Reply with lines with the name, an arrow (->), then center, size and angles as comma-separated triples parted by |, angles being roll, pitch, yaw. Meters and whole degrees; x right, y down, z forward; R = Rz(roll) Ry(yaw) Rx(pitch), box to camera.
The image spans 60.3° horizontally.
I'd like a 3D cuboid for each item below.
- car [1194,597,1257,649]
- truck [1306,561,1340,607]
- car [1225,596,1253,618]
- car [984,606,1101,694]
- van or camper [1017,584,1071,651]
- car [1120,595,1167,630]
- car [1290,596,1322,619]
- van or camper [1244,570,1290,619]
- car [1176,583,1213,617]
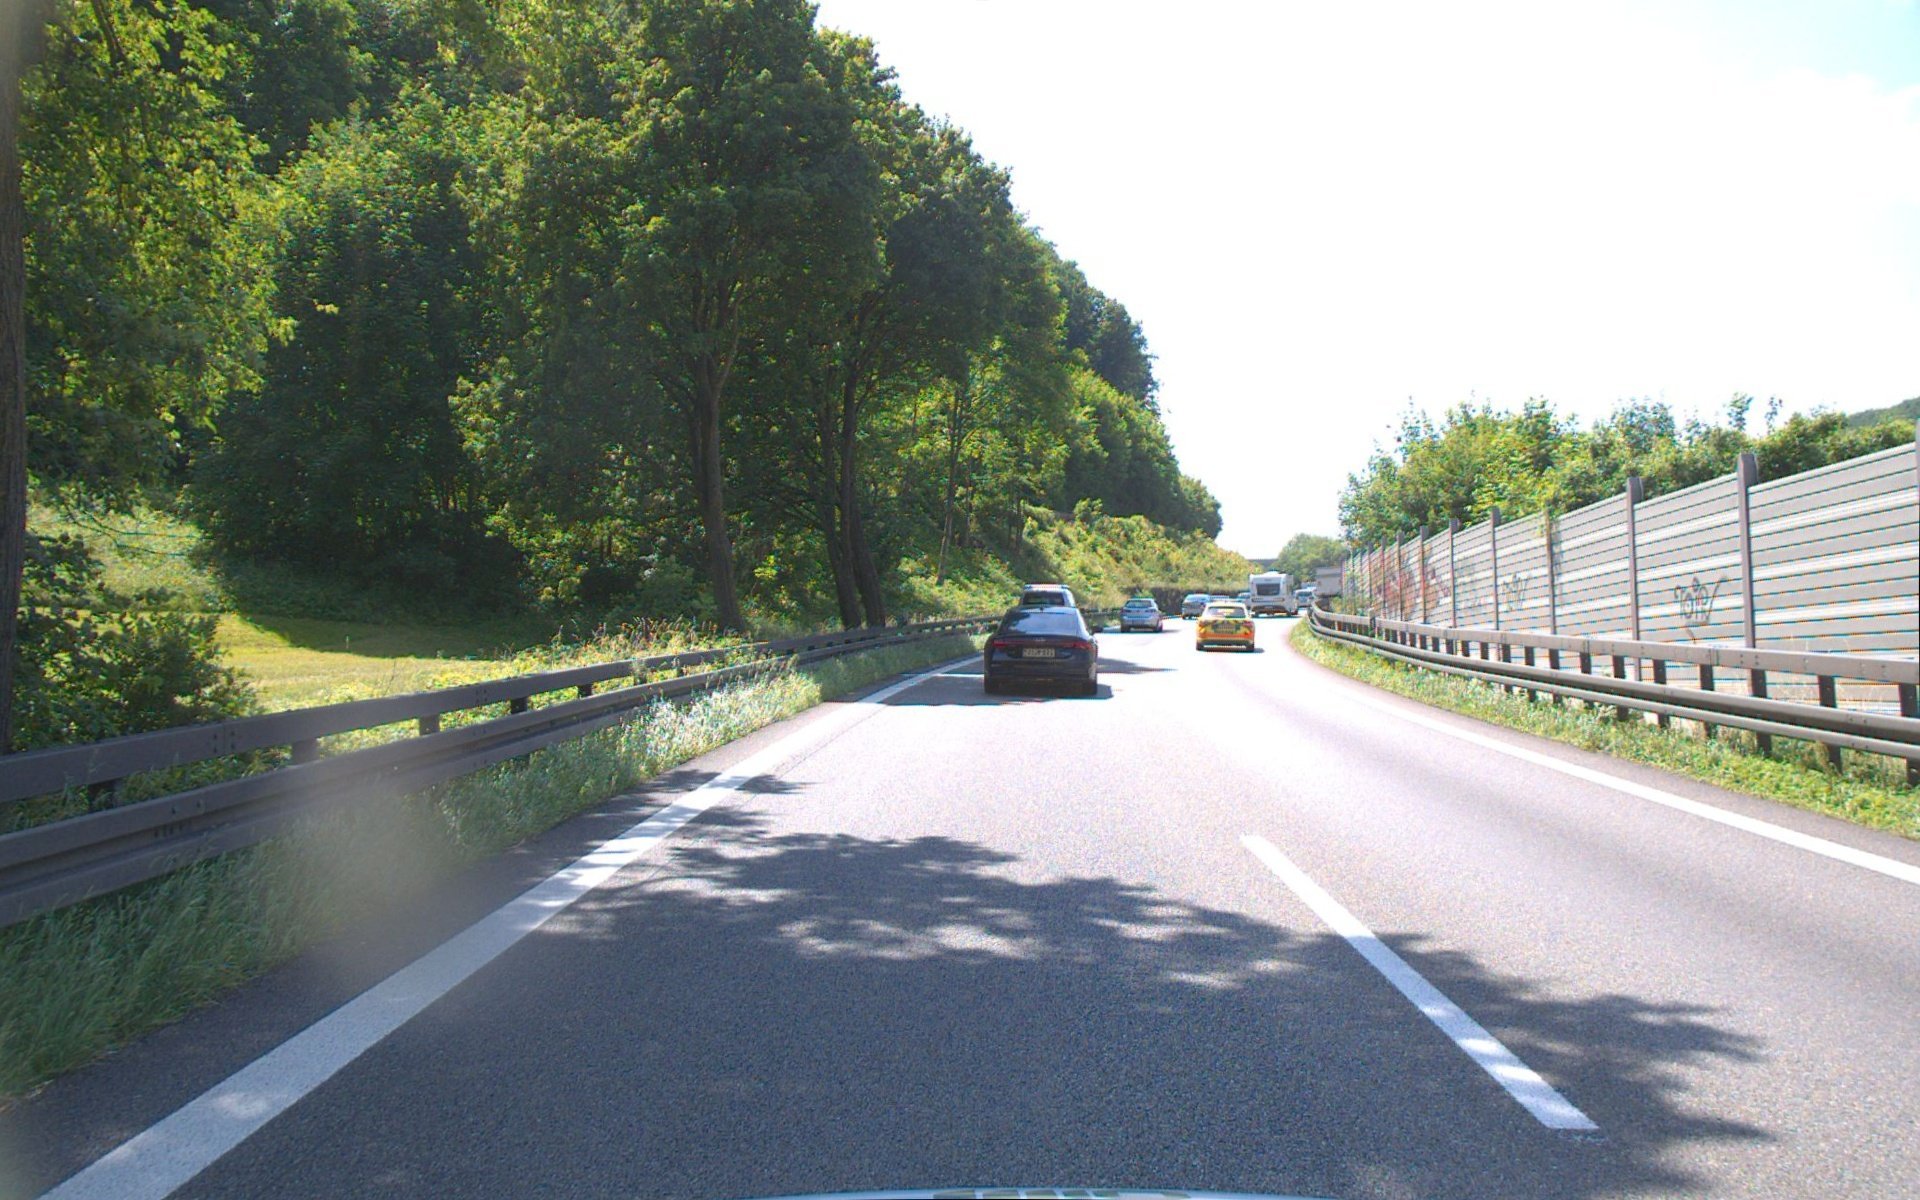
car -> 8.174, 0.704, 51.062 | 1.823, 1.514, 4.003 | 0, -1, 8
truck -> 34.828, -1.492, 158.520 | 2.675, 4.168, 7.484 | -1, -1, 16
car -> 22.337, 0.607, 132.543 | 1.802, 1.747, 4.002 | 0, -1, 16
car -> 1.455, 0.807, 27.789 | 1.799, 1.373, 4.002 | 0, -1, 5
van or camper -> 2.438, 0.509, 47.391 | 1.362, 1.848, 4.002 | 0, -1, 5
car -> 7.910, 0.539, 71.034 | 1.709, 1.456, 4.003 | 0, -1, 10
car -> 27.510, 0.558, 131.455 | 1.952, 1.747, 4.001 | -1, 0, 20
van or camper -> 19.279, -0.321, 103.616 | 2.403, 2.969, 6.130 | 0, -1, 15
car -> 14.380, 0.000, 101.428 | 1.951, 2.049, 4.004 | -1, 0, 12
